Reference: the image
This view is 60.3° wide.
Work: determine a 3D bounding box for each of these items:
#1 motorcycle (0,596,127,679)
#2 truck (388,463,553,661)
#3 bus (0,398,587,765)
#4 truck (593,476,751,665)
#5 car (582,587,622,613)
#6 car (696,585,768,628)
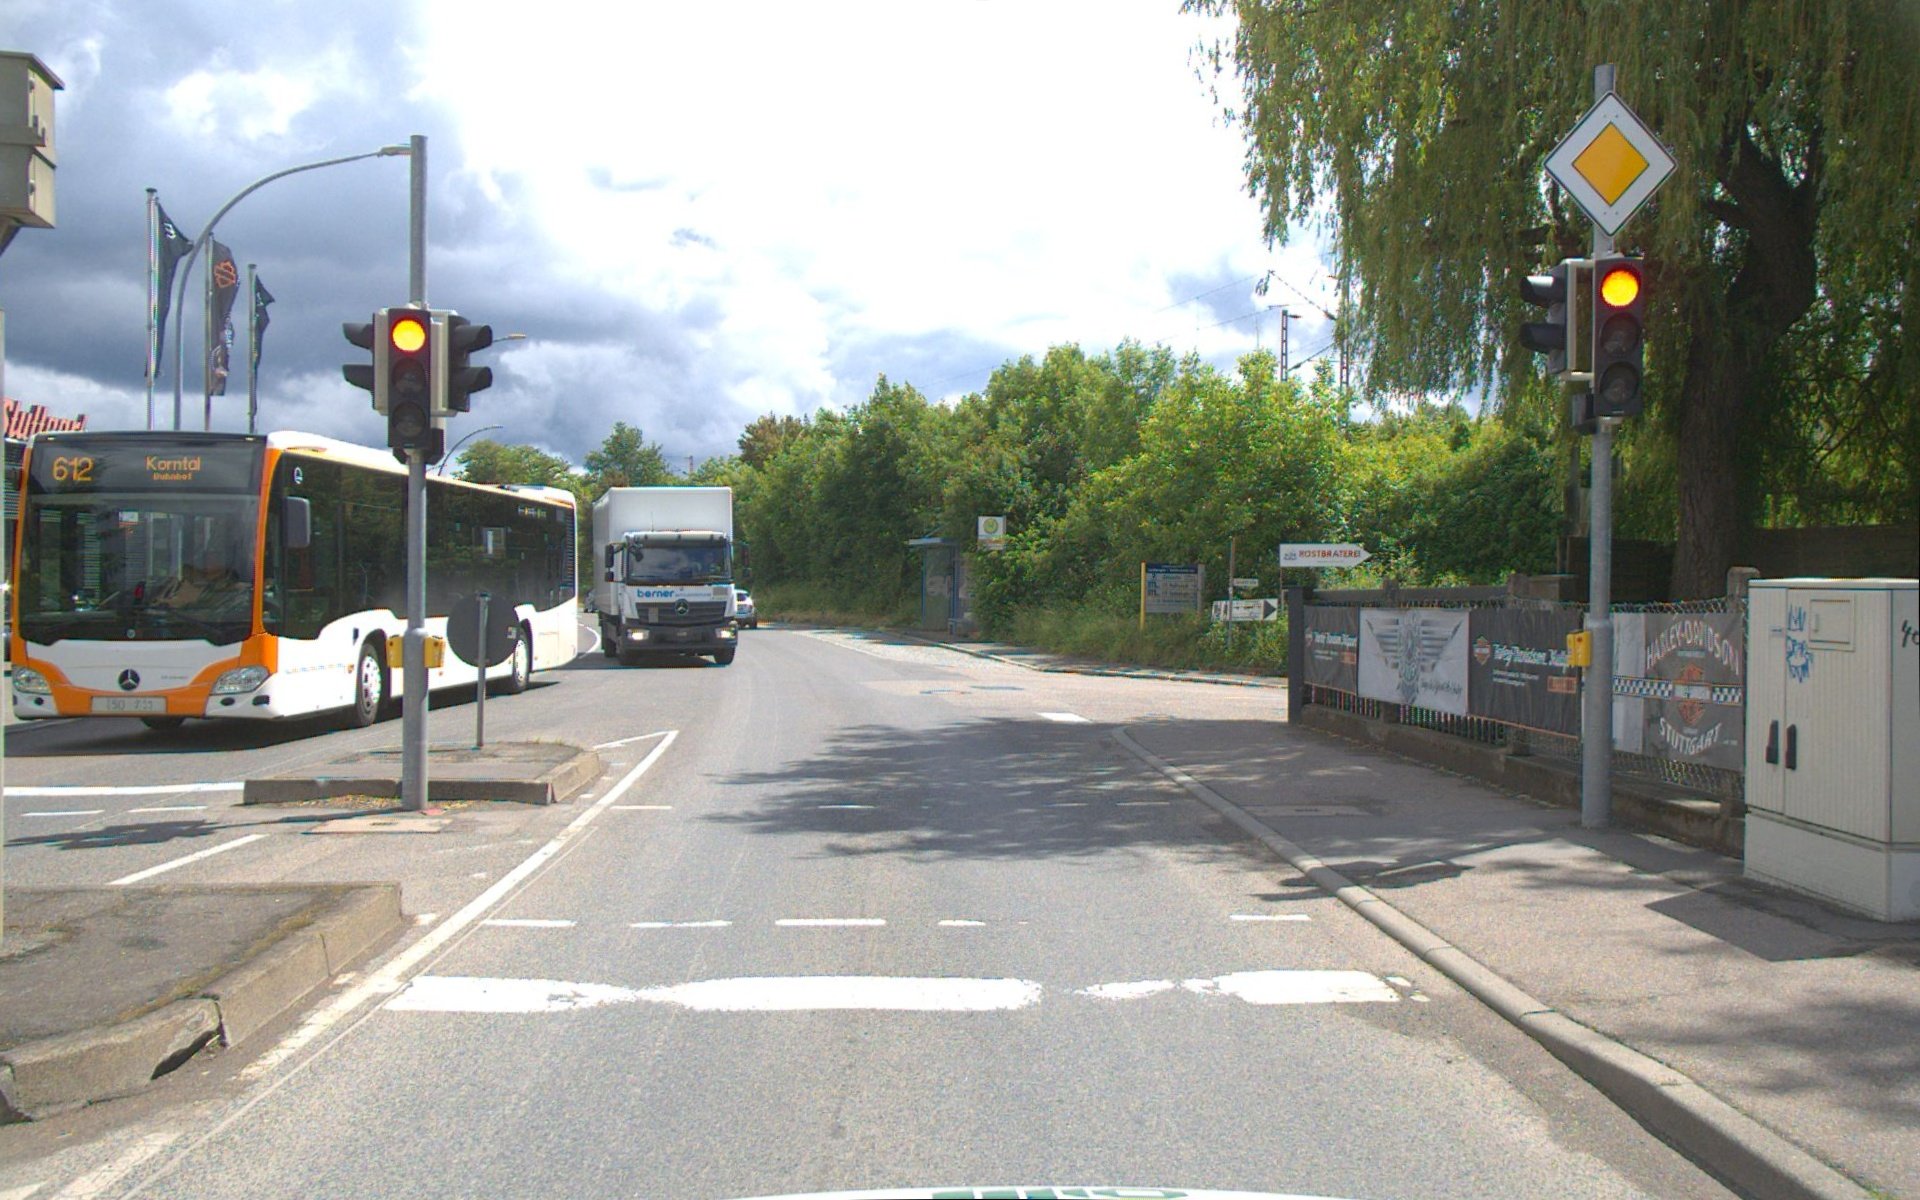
[{"bbox_3d":[-14.527,0.578,26.223,2.448,1.239,0.926,1,-1,20],"label":"motorcycle"},{"bbox_3d":[-11.741,-0.821,40.463,2.383,4.203,9.133,2,0,-8],"label":"truck"},{"bbox_3d":[-7.566,-0.206,21.121,2.720,3.323,12.124,-1,0,1],"label":"bus"},{"bbox_3d":[-6.585,-0.584,36.617,2.791,3.602,9.689,0,0,-14],"label":"truck"},{"bbox_3d":[-22.014,0.012,101.580,1.857,1.534,3.976,1,0,-20],"label":"car"},{"bbox_3d":[-8.515,0.210,61.516,1.858,1.535,3.975,0,0,-21],"label":"car"}]
